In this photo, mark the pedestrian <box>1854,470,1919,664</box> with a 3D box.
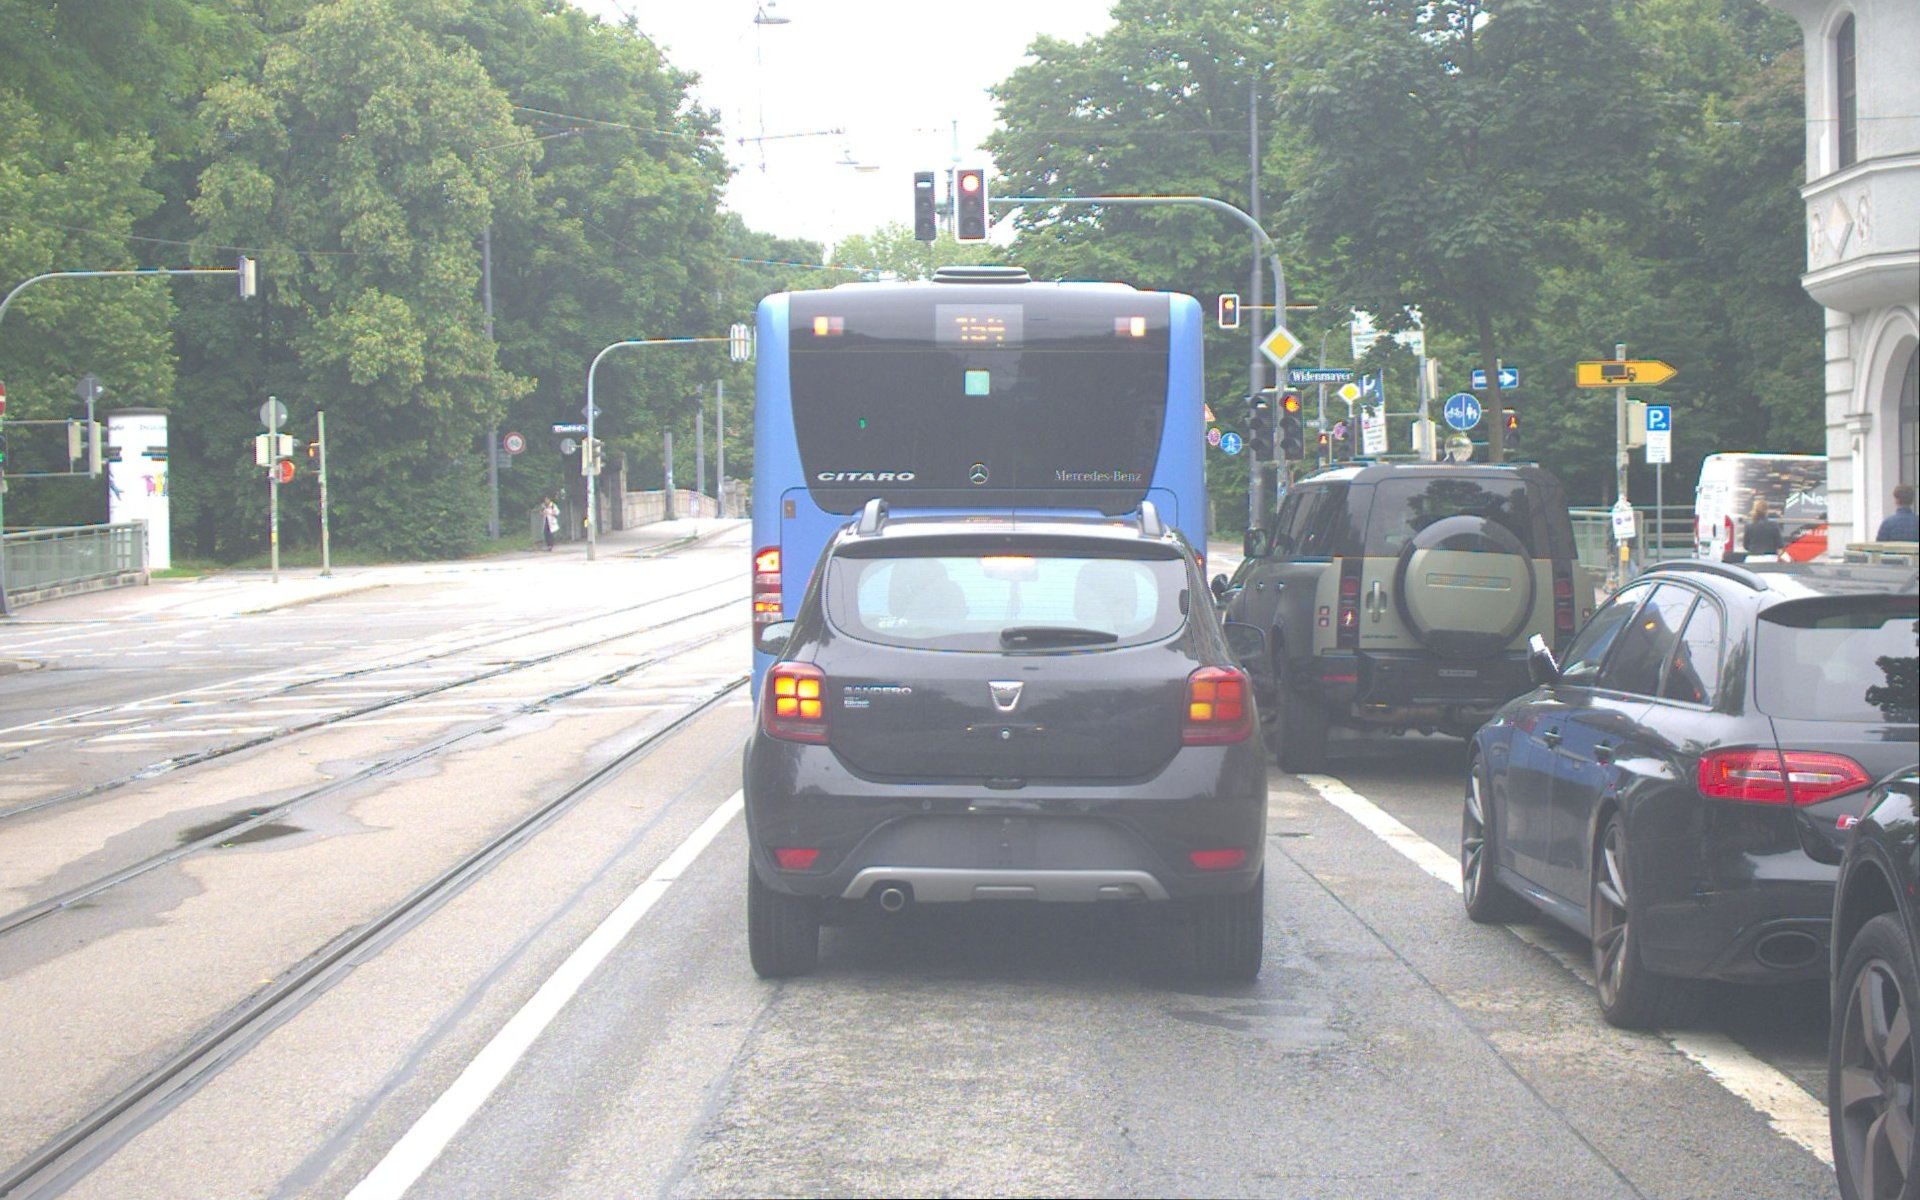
[{"bbox_3d":[8.968,-0.318,32.636,0.705,1.810,0.870,1,1,1],"label":"pedestrian"}]

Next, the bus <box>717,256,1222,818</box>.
[{"bbox_3d":[-0.024,-0.405,22.066,2.678,2.987,6.961,1,1,-1],"label":"bus"}]

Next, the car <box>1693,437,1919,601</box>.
[{"bbox_3d":[15.079,-1.312,56.998,5.295,2.603,2.231,1,1,-2],"label":"car"}]

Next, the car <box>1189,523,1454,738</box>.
[{"bbox_3d":[2.862,0.191,28.011,1.714,1.586,4.327,1,1,1],"label":"car"}]

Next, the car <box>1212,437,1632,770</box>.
[{"bbox_3d":[2.853,-0.025,22.311,1.914,1.899,4.808,1,1,-2],"label":"car"}]

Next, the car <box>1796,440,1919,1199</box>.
[{"bbox_3d":[2.754,0.543,5.539,1.774,1.652,4.488,1,1,1],"label":"car"}]

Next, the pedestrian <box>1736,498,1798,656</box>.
[{"bbox_3d":[10.384,-0.298,44.251,0.673,2.007,0.716,1,1,9],"label":"pedestrian"}]

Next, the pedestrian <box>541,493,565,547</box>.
[{"bbox_3d":[-11.357,-2.219,95.908,0.532,1.496,0.588,1,1,5],"label":"pedestrian"}]

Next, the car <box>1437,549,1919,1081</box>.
[{"bbox_3d":[2.807,0.561,11.658,1.716,1.421,4.602,1,1,0],"label":"car"}]

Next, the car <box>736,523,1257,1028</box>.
[{"bbox_3d":[0.114,0.516,12.506,1.601,1.551,3.525,1,1,0],"label":"car"}]
